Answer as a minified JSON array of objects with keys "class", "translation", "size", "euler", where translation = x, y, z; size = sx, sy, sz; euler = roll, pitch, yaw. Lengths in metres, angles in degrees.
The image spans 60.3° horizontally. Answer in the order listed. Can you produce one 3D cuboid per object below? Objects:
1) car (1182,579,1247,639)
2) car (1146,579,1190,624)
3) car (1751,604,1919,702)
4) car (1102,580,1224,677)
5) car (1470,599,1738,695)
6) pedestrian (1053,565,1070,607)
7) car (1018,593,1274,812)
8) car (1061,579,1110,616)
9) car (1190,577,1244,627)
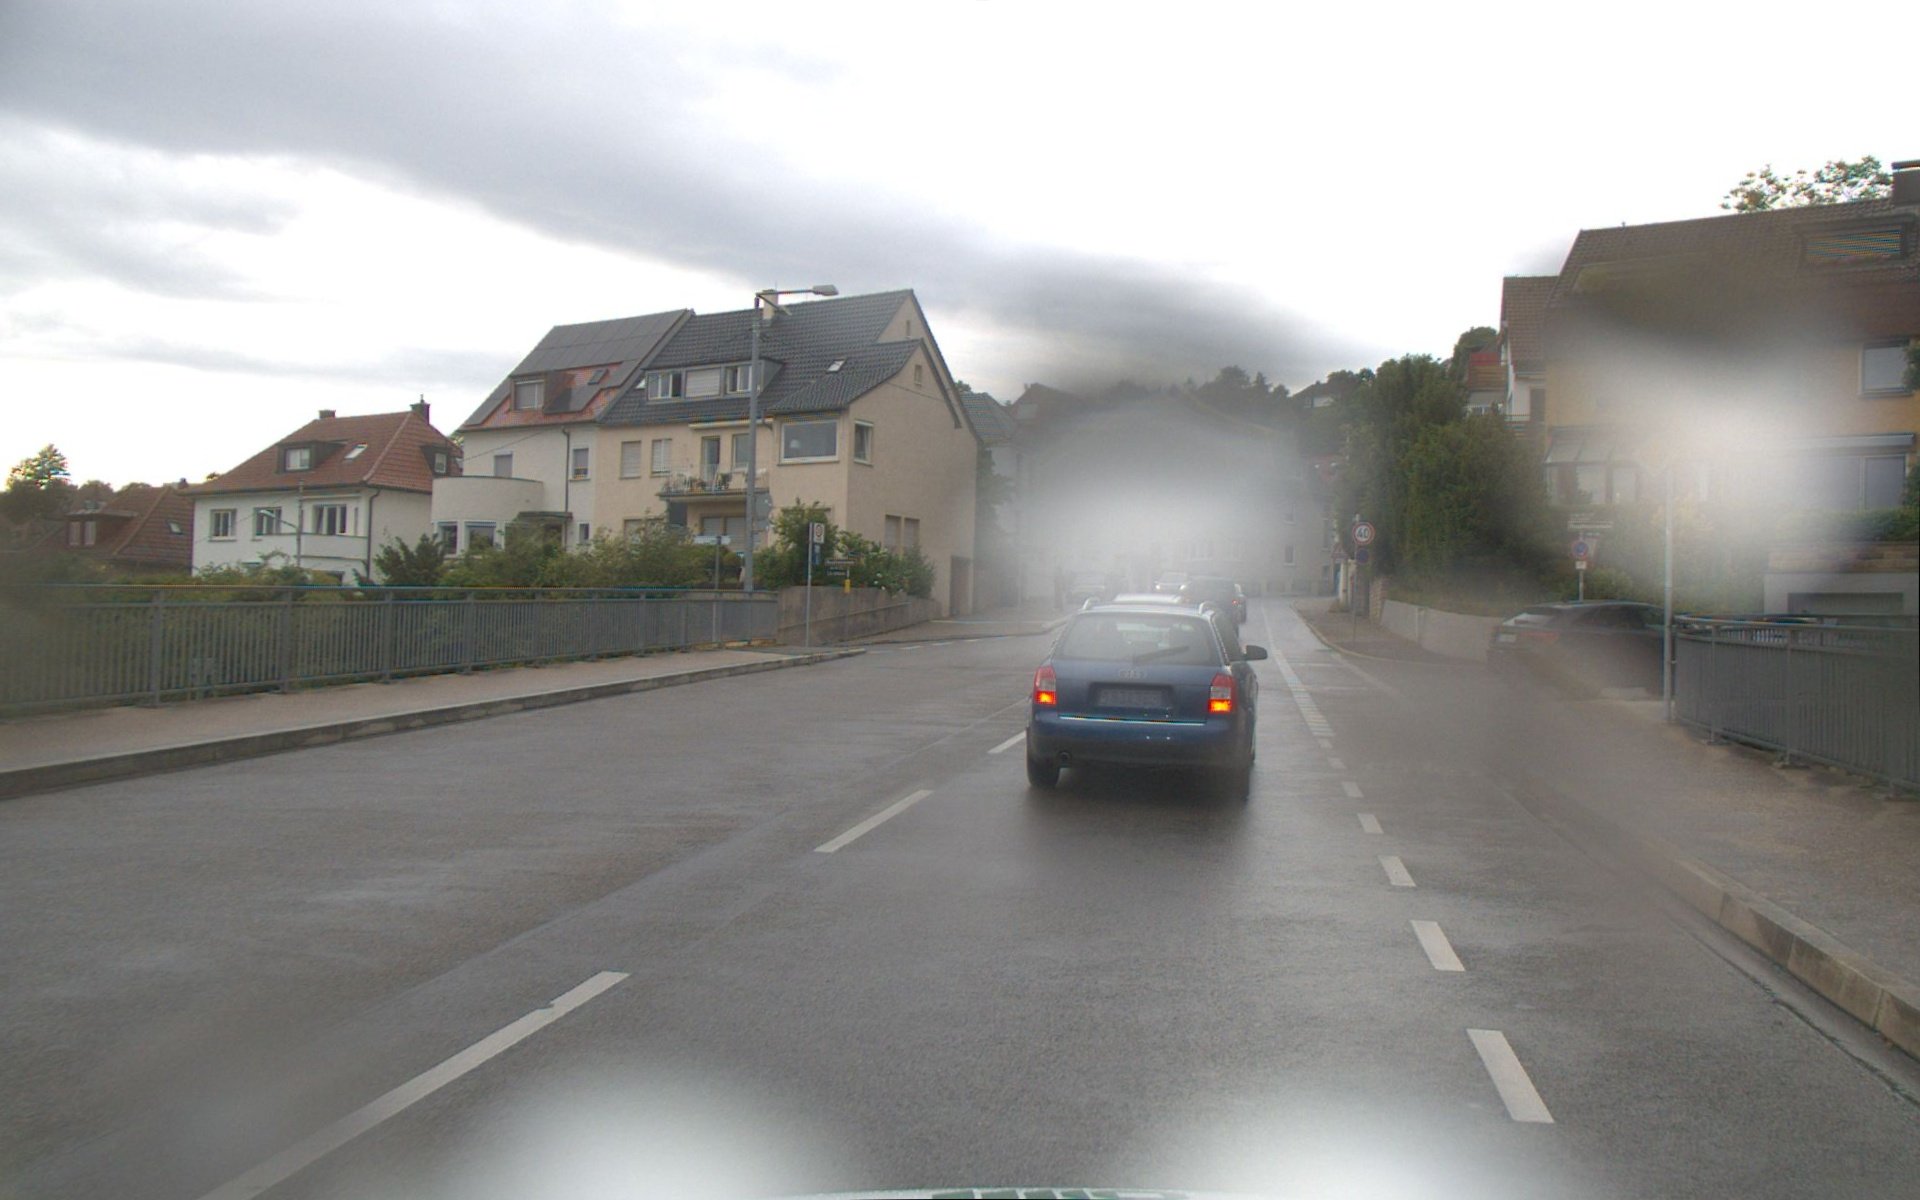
[{"class":"car","translation":[7.685,0.241,50.092],"size":[1.783,1.645,3.788],"euler":[4,1,8]},{"class":"car","translation":[10.687,0.037,84.839],"size":[1.951,2.048,4.004],"euler":[2,3,10]},{"class":"car","translation":[15.352,0.901,27.279],"size":[3.697,1.449,1.827],"euler":[3,0,-1]},{"class":"car","translation":[3.526,0.476,28.202],"size":[1.851,1.413,4.003],"euler":[4,0,9]},{"class":"car","translation":[10.266,0.748,26.397],"size":[3.715,1.449,1.818],"euler":[1,-1,-19]},{"class":"pedestrian","translation":[4.196,-0.583,68.472],"size":[0.644,1.720,0.582],"euler":[-1,2,4]},{"class":"car","translation":[1.669,0.703,13.638],"size":[1.710,1.432,4.004],"euler":[2,1,11]},{"class":"car","translation":[6.142,-0.101,80.343],"size":[1.951,1.738,4.003],"euler":[0,0,10]},{"class":"car","translation":[9.971,0.068,64.330],"size":[1.783,1.760,3.788],"euler":[4,1,6]}]
